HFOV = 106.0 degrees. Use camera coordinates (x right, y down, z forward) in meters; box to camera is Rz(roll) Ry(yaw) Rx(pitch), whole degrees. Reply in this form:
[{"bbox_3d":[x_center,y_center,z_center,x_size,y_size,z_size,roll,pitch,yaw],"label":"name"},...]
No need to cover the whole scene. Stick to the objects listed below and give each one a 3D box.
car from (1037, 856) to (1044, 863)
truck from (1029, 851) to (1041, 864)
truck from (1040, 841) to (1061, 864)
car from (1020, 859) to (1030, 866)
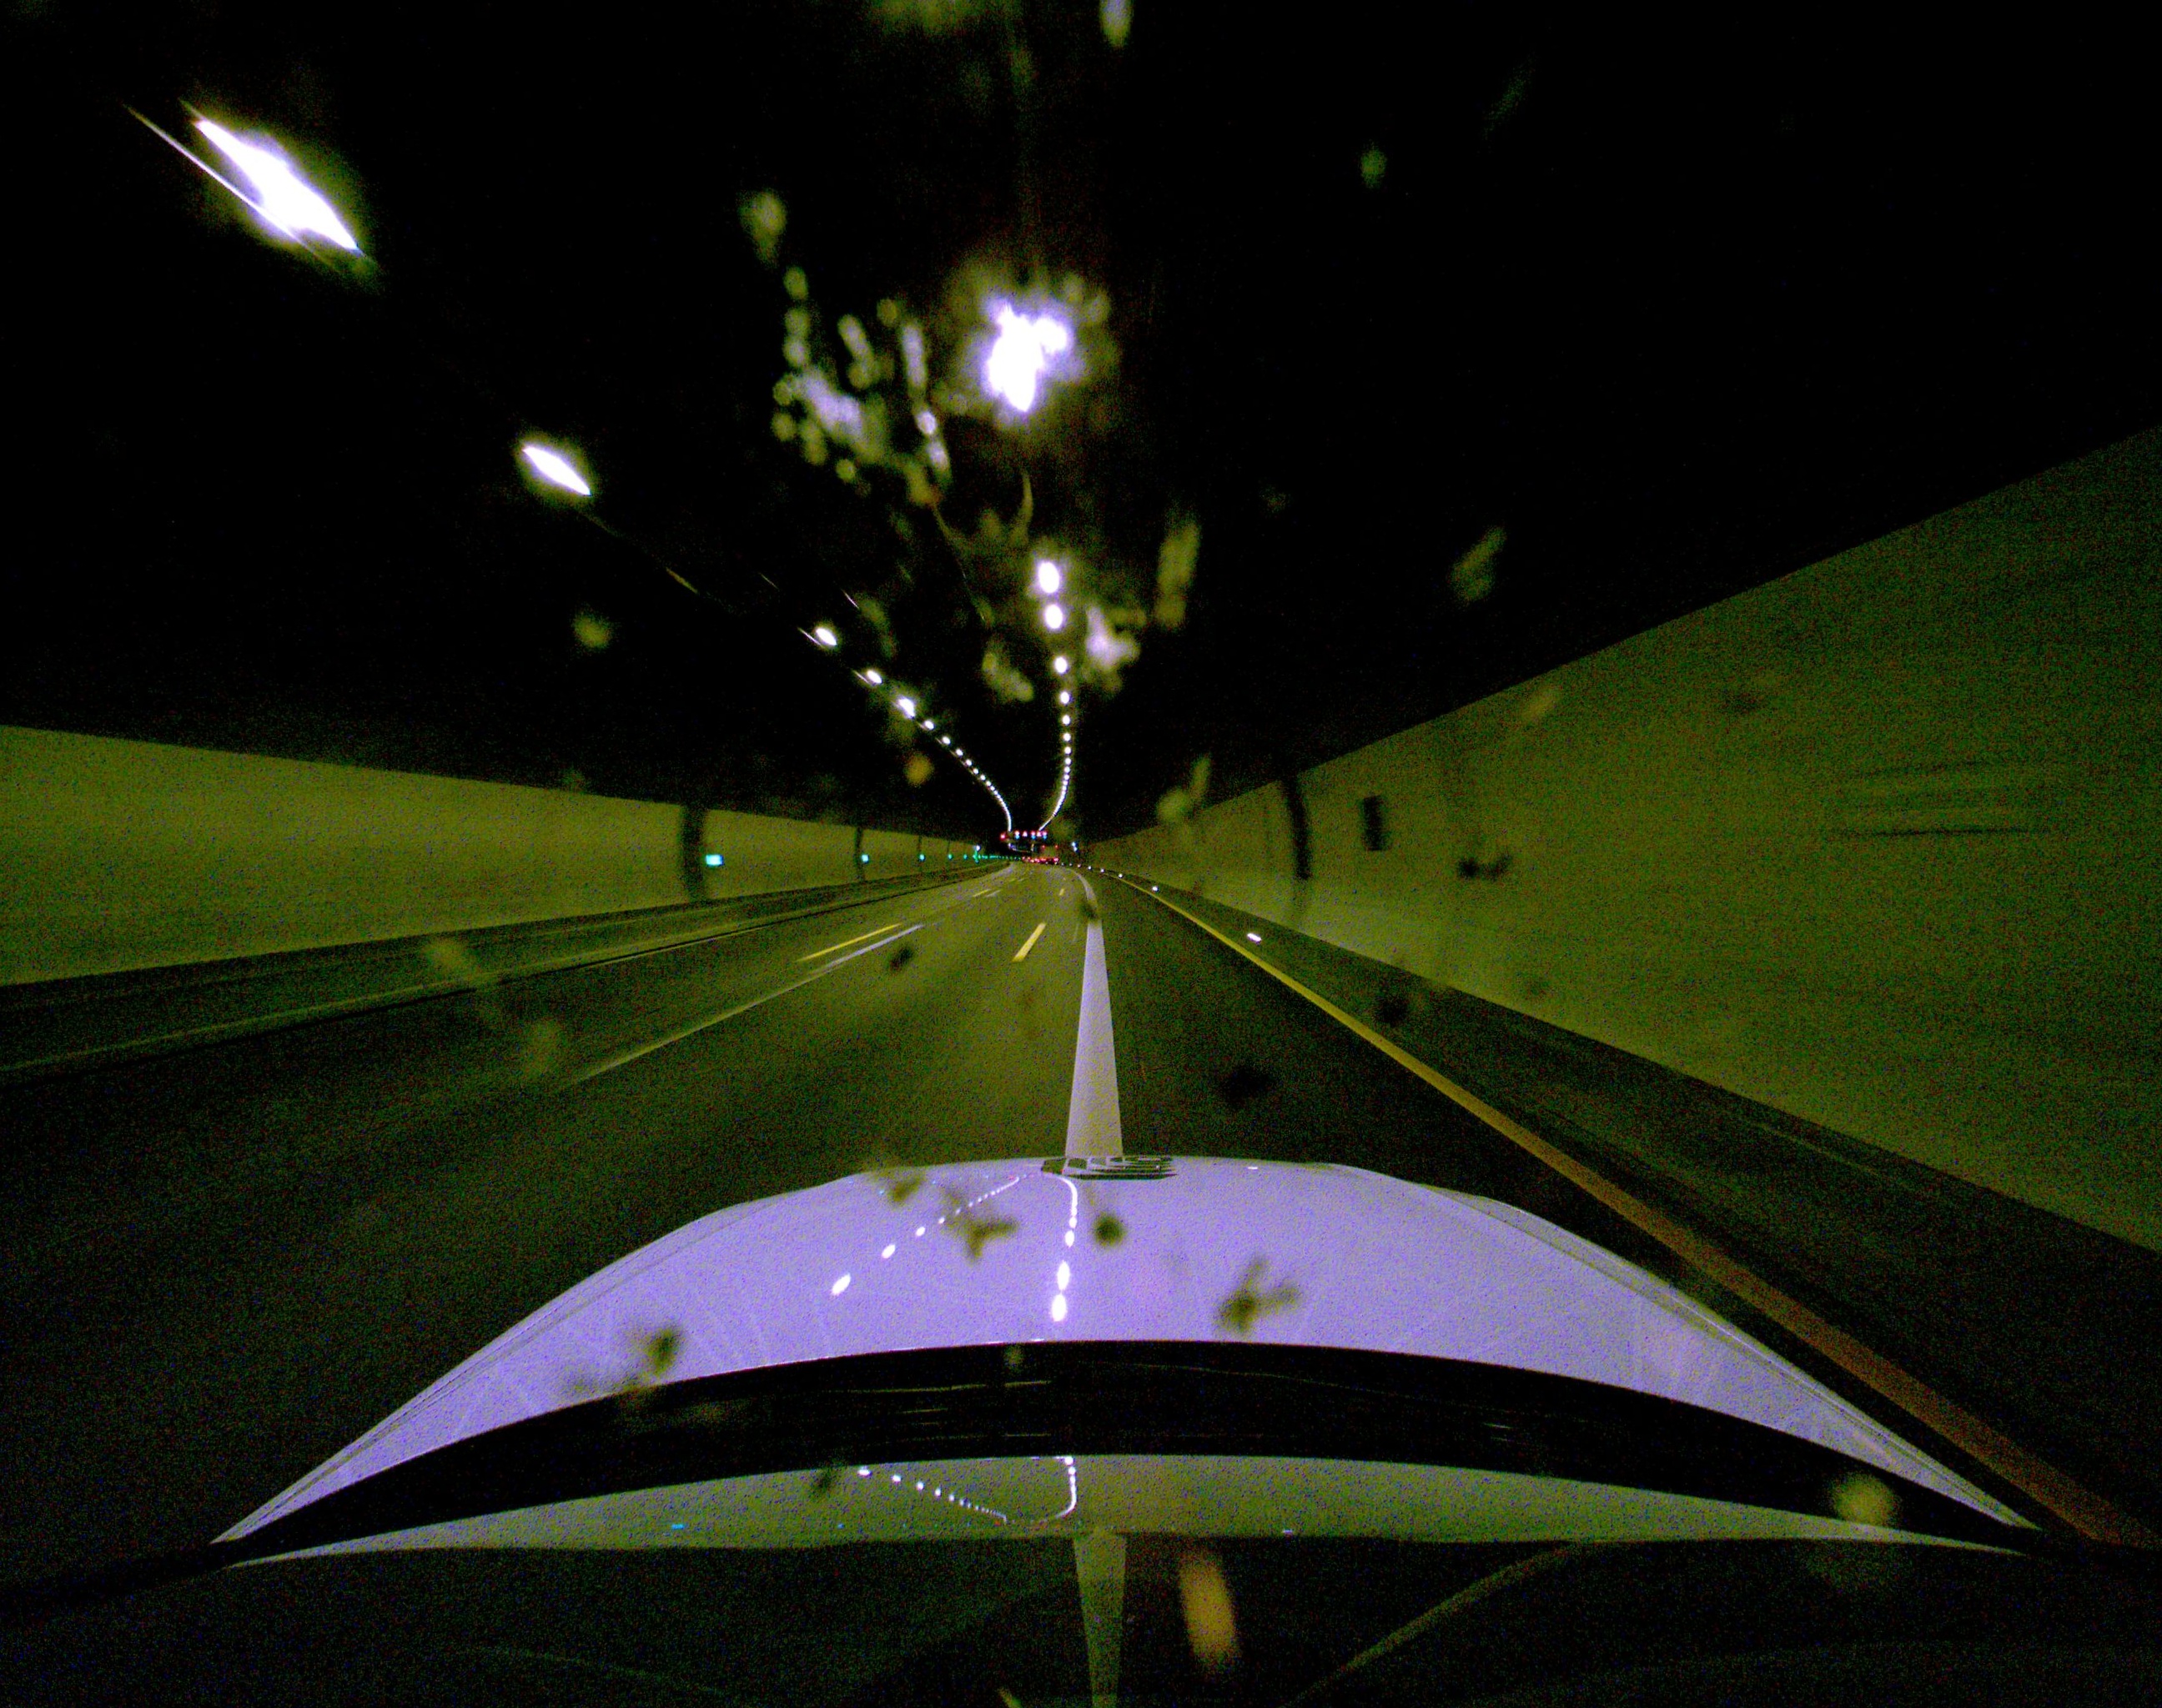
[{"bbox_3d":[-10.872,1.455,219.102,1.989,2.013,3.995,1,0,-3],"label":"car"},{"bbox_3d":[-14.574,1.116,258.215,3.469,4.316,10.931,0,0,-5],"label":"truck"},{"bbox_3d":[-6.110,-0.253,160.231,3.469,4.316,10.931,1,0,-5],"label":"truck"},{"bbox_3d":[-13.235,1.899,192.285,1.991,1.582,3.992,1,0,-6],"label":"car"}]
